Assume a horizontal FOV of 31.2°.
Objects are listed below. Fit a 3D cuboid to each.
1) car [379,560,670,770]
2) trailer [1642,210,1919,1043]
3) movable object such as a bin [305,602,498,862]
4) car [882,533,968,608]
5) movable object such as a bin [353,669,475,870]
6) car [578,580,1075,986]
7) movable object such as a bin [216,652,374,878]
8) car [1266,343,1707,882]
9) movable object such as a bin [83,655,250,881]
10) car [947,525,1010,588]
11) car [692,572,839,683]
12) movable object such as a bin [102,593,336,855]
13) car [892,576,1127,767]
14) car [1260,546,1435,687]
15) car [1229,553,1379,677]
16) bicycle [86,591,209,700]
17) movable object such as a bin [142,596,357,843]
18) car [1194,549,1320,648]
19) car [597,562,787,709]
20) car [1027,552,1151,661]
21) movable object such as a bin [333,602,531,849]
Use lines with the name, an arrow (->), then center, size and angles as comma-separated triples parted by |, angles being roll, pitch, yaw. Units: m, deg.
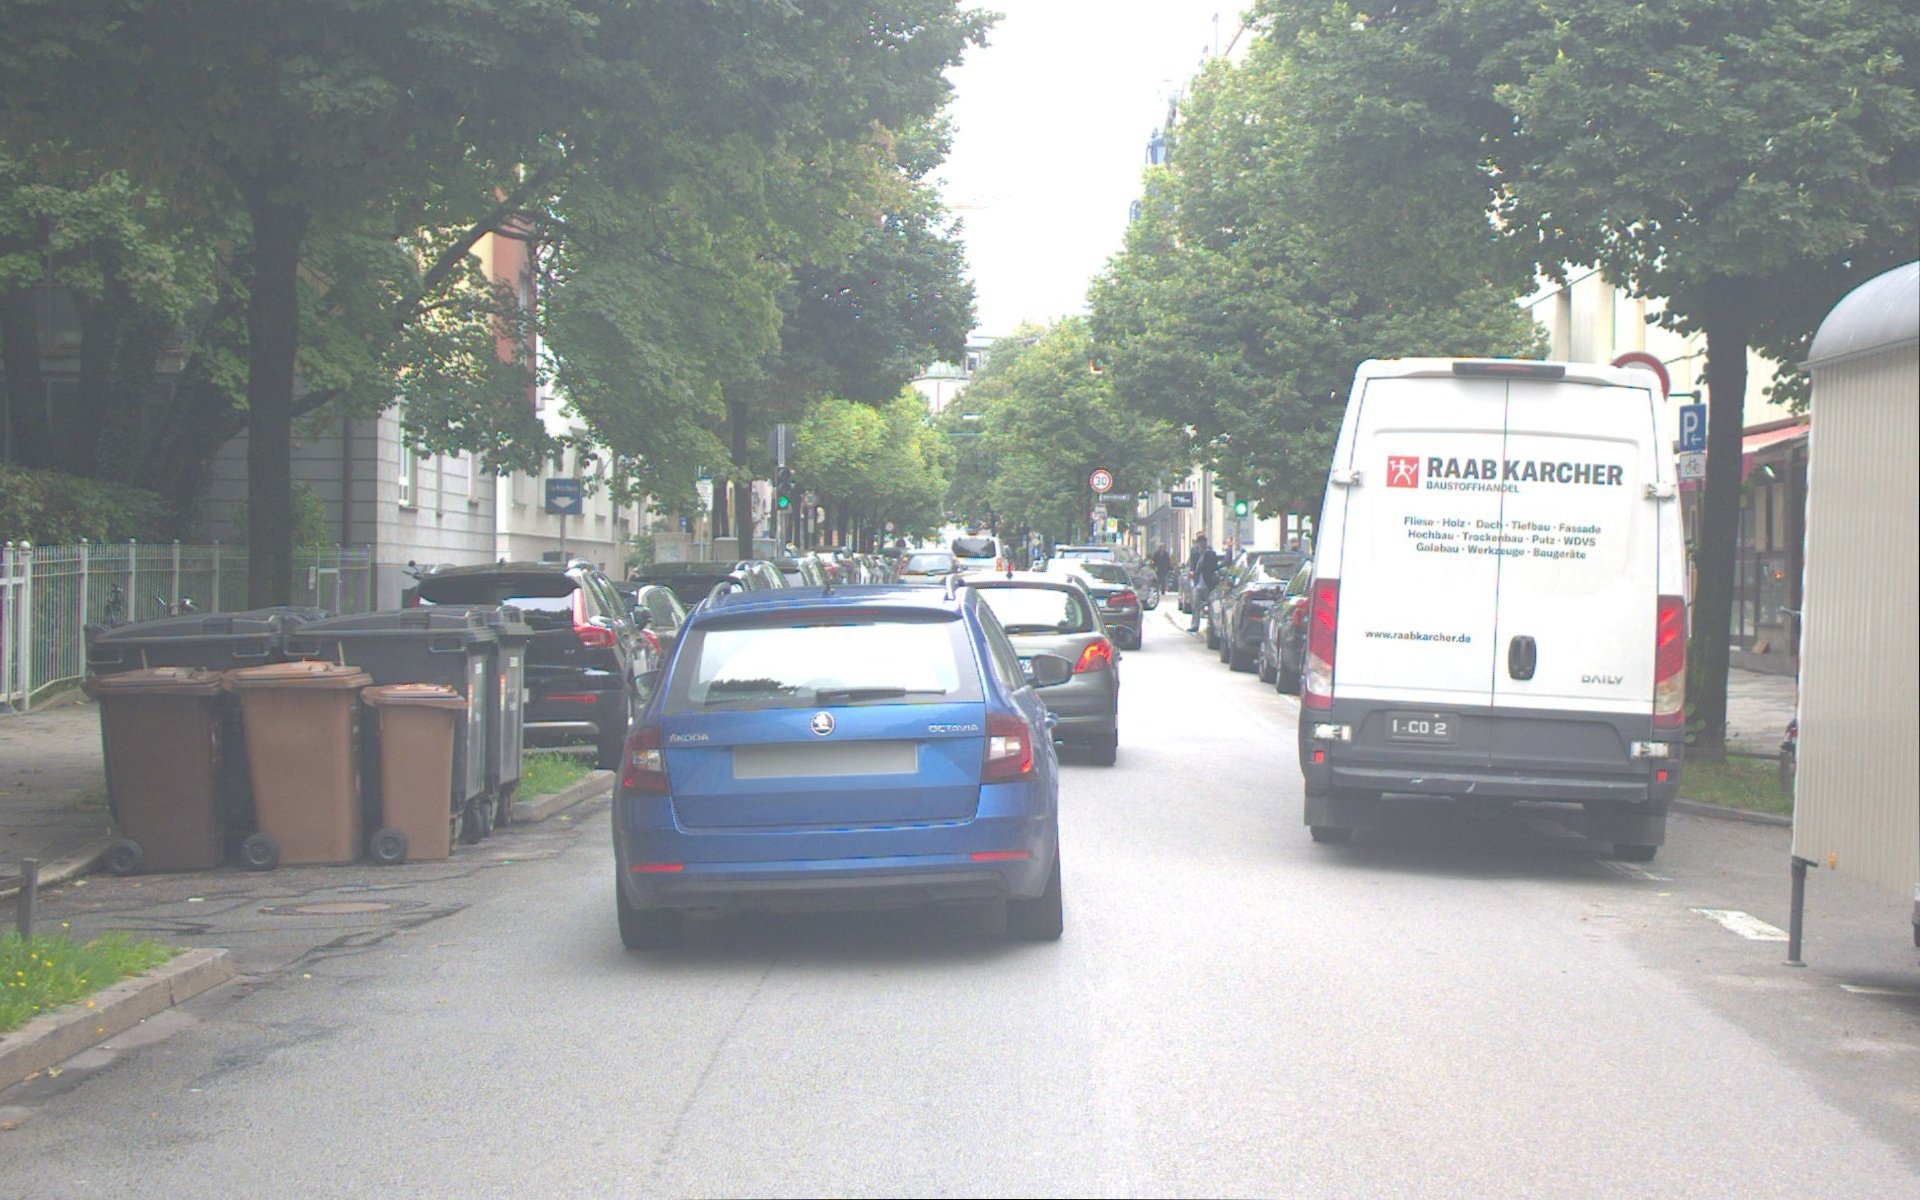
car -> -3.326, 0.452, 26.903 | 1.812, 1.473, 4.000 | 1, 1, -1
trailer -> 4.534, 0.114, 13.051 | 2.502, 2.830, 6.901 | 2, 0, 1
movable object such as a bin -> -3.083, 0.711, 19.080 | 0.918, 1.372, 1.080 | -1, 1, -3
car -> -0.817, -0.719, 83.073 | 1.867, 1.690, 4.347 | 2, 1, 1
movable object such as a bin -> -2.889, 0.890, 18.223 | 0.546, 1.017, 0.636 | -1, 1, -2
car -> -0.466, 0.653, 14.614 | 1.789, 1.455, 4.314 | 1, 0, 1
movable object such as a bin -> -3.507, 0.861, 18.172 | 0.711, 1.144, 0.636 | -1, 1, -2
car -> 2.981, 0.068, 20.174 | 2.113, 2.654, 5.498 | 2, 0, 7
movable object such as a bin -> -4.176, 0.874, 18.127 | 0.721, 1.134, 0.658 | -1, 1, -2
car -> 0.554, -1.370, 108.143 | 1.867, 1.863, 4.347 | 2, 1, 0
car -> -2.771, 0.362, 49.671 | 1.812, 1.473, 4.000 | 1, 1, 1
movable object such as a bin -> -4.080, 0.664, 19.012 | 1.081, 1.372, 1.084 | -1, 1, -3
car -> 0.448, 0.529, 27.373 | 1.741, 1.417, 3.663 | 0, 0, 3
car -> 4.902, 0.180, 43.957 | 1.825, 1.721, 4.000 | 0, 1, 1
car -> 4.979, 0.187, 50.175 | 1.825, 1.721, 4.000 | 0, 1, 1
bicycle -> -8.328, 0.448, 35.349 | 0.635, 1.063, 2.387 | 0, 1, 2
movable object such as a bin -> -4.138, 0.679, 20.113 | 1.057, 1.372, 1.096 | -1, 1, -3
car -> 4.910, -0.050, 57.277 | 1.778, 1.579, 4.000 | 0, 1, 1
car -> -2.880, 0.351, 37.629 | 1.812, 1.473, 4.000 | 1, 1, -1
car -> 2.122, 0.074, 57.426 | 1.867, 1.690, 4.347 | 2, 1, 0
movable object such as a bin -> -3.082, 0.717, 20.178 | 1.020, 1.372, 1.104 | -1, 1, -3
